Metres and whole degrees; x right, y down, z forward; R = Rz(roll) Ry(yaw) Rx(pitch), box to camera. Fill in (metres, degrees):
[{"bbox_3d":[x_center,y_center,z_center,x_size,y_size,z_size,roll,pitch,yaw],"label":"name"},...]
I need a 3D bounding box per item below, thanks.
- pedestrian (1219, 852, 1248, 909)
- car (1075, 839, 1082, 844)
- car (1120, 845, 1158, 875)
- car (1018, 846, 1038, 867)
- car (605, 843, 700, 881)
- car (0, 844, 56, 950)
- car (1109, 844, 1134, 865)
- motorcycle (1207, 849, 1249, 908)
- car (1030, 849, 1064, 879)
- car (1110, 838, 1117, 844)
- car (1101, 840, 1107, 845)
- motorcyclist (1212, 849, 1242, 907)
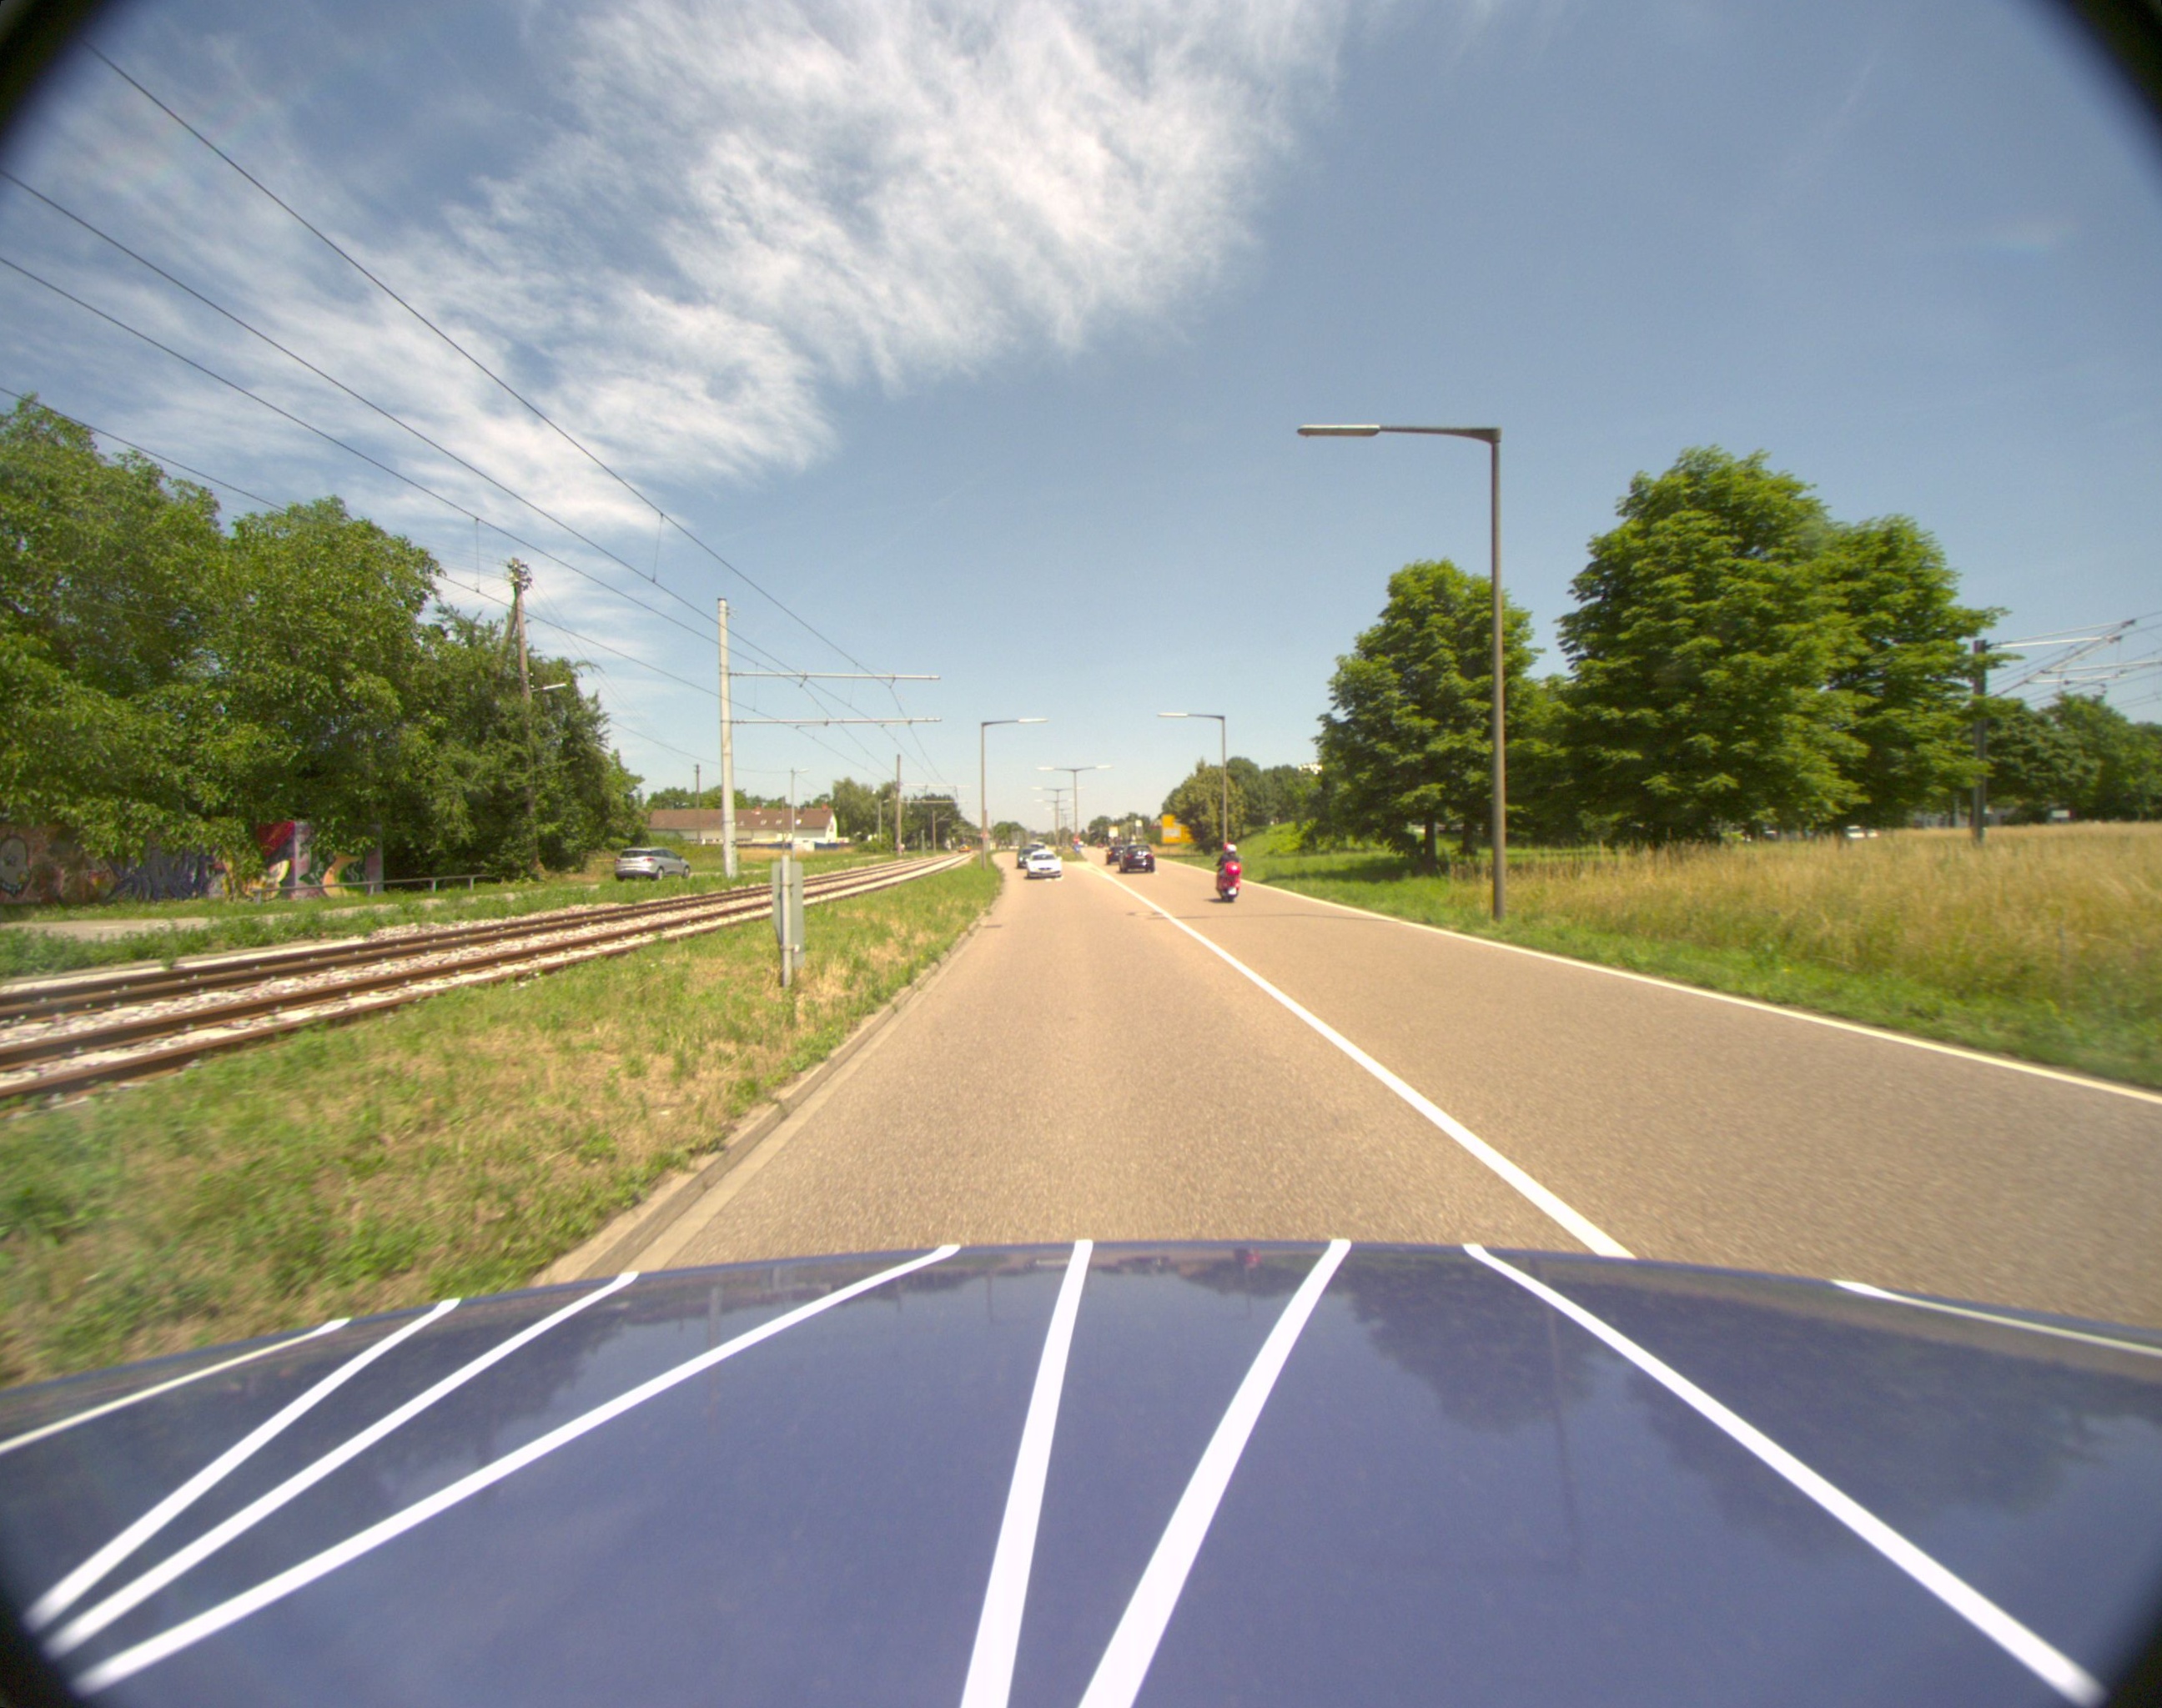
[{"bbox_3d":[4.137,0.710,20.590,0.644,1.527,0.577,-1,0,-1],"label":"pedestrian"},{"bbox_3d":[-0.641,-3.552,218.591,1.619,1.387,3.598,-1,2,-5],"label":"car"},{"bbox_3d":[3.310,0.315,44.069,1.831,1.592,4.483,-1,0,0],"label":"car"},{"bbox_3d":[-3.998,0.194,57.456,1.510,1.424,3.356,-1,2,-4],"label":"car"},{"bbox_3d":[-18.424,0.308,32.960,1.685,1.406,4.547,-1,2,-3],"label":"car"},{"bbox_3d":[-17.377,0.737,9.925,1.681,1.615,4.708,-1,2,-4],"label":"car"},{"bbox_3d":[3.197,0.016,61.117,1.826,1.564,4.110,-1,2,1],"label":"car"},{"bbox_3d":[4.104,0.674,21.323,0.706,1.577,2.147,-1,-1,-1],"label":"motorcycle"},{"bbox_3d":[-1.853,0.492,41.966,1.772,1.434,4.127,-1,2,-1],"label":"car"},{"bbox_3d":[10.012,-3.930,232.671,1.653,1.577,3.817,-1,2,-3],"label":"car"},{"bbox_3d":[7.011,-3.404,230.273,1.621,1.347,3.514,-1,2,1],"label":"car"},{"bbox_3d":[4.092,0.676,21.371,0.690,1.576,0.670,-1,-1,-1],"label":"motorcyclist"}]
